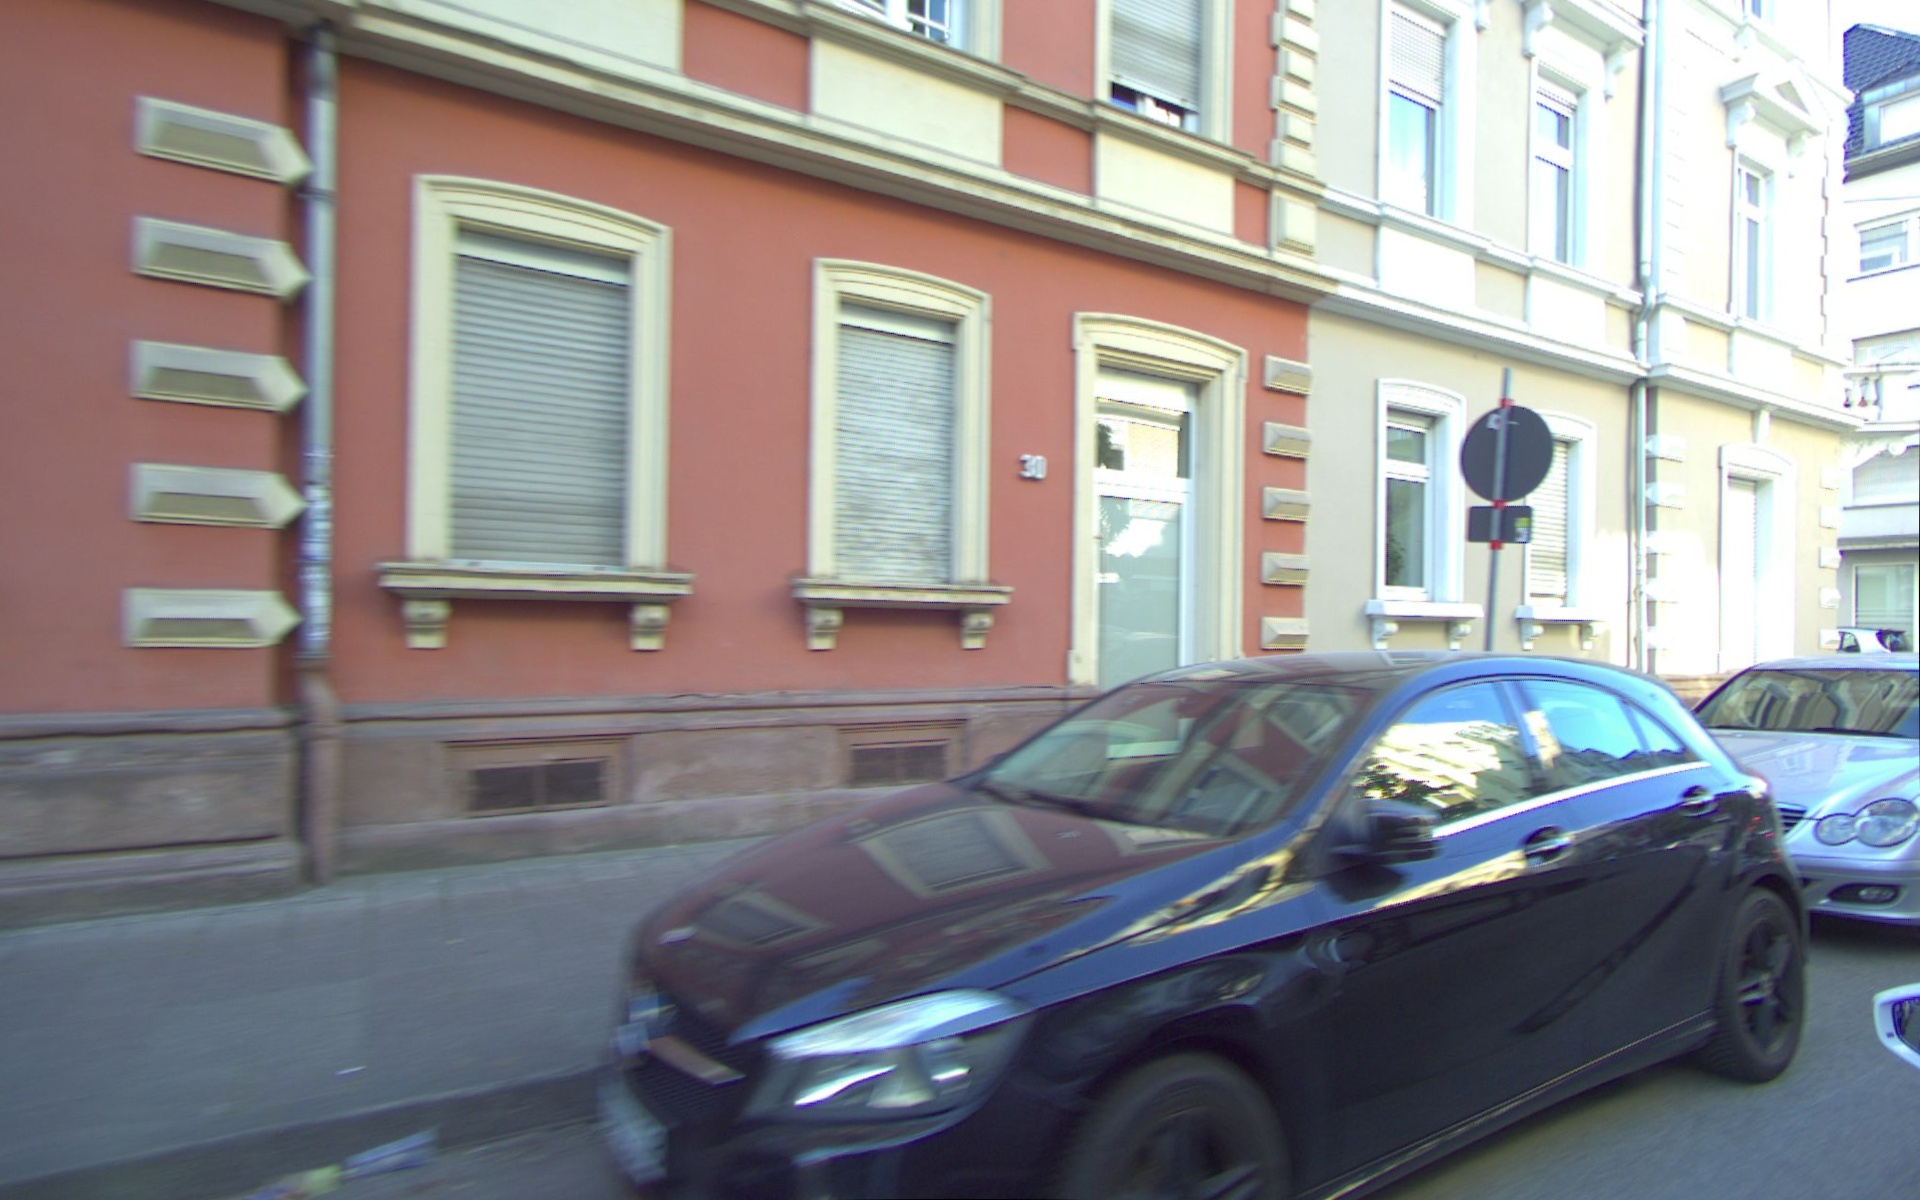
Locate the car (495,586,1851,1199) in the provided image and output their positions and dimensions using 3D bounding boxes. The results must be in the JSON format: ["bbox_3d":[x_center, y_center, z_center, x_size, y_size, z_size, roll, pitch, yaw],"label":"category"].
[{"bbox_3d":[0.892,0.817,3.313,4.219,1.503,1.911,1,-3,-32],"label":"car"}]

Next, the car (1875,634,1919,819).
[{"bbox_3d":[10.082,1.061,8.791,4.218,1.527,1.911,1,-3,-31],"label":"car"}]

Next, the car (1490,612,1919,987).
[{"bbox_3d":[5.382,0.924,6.138,4.219,1.580,1.911,1,-3,-32],"label":"car"}]

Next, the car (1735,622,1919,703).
[{"bbox_3d":[19.200,1.339,22.262,1.575,1.560,2.773,2,0,-29],"label":"car"}]
